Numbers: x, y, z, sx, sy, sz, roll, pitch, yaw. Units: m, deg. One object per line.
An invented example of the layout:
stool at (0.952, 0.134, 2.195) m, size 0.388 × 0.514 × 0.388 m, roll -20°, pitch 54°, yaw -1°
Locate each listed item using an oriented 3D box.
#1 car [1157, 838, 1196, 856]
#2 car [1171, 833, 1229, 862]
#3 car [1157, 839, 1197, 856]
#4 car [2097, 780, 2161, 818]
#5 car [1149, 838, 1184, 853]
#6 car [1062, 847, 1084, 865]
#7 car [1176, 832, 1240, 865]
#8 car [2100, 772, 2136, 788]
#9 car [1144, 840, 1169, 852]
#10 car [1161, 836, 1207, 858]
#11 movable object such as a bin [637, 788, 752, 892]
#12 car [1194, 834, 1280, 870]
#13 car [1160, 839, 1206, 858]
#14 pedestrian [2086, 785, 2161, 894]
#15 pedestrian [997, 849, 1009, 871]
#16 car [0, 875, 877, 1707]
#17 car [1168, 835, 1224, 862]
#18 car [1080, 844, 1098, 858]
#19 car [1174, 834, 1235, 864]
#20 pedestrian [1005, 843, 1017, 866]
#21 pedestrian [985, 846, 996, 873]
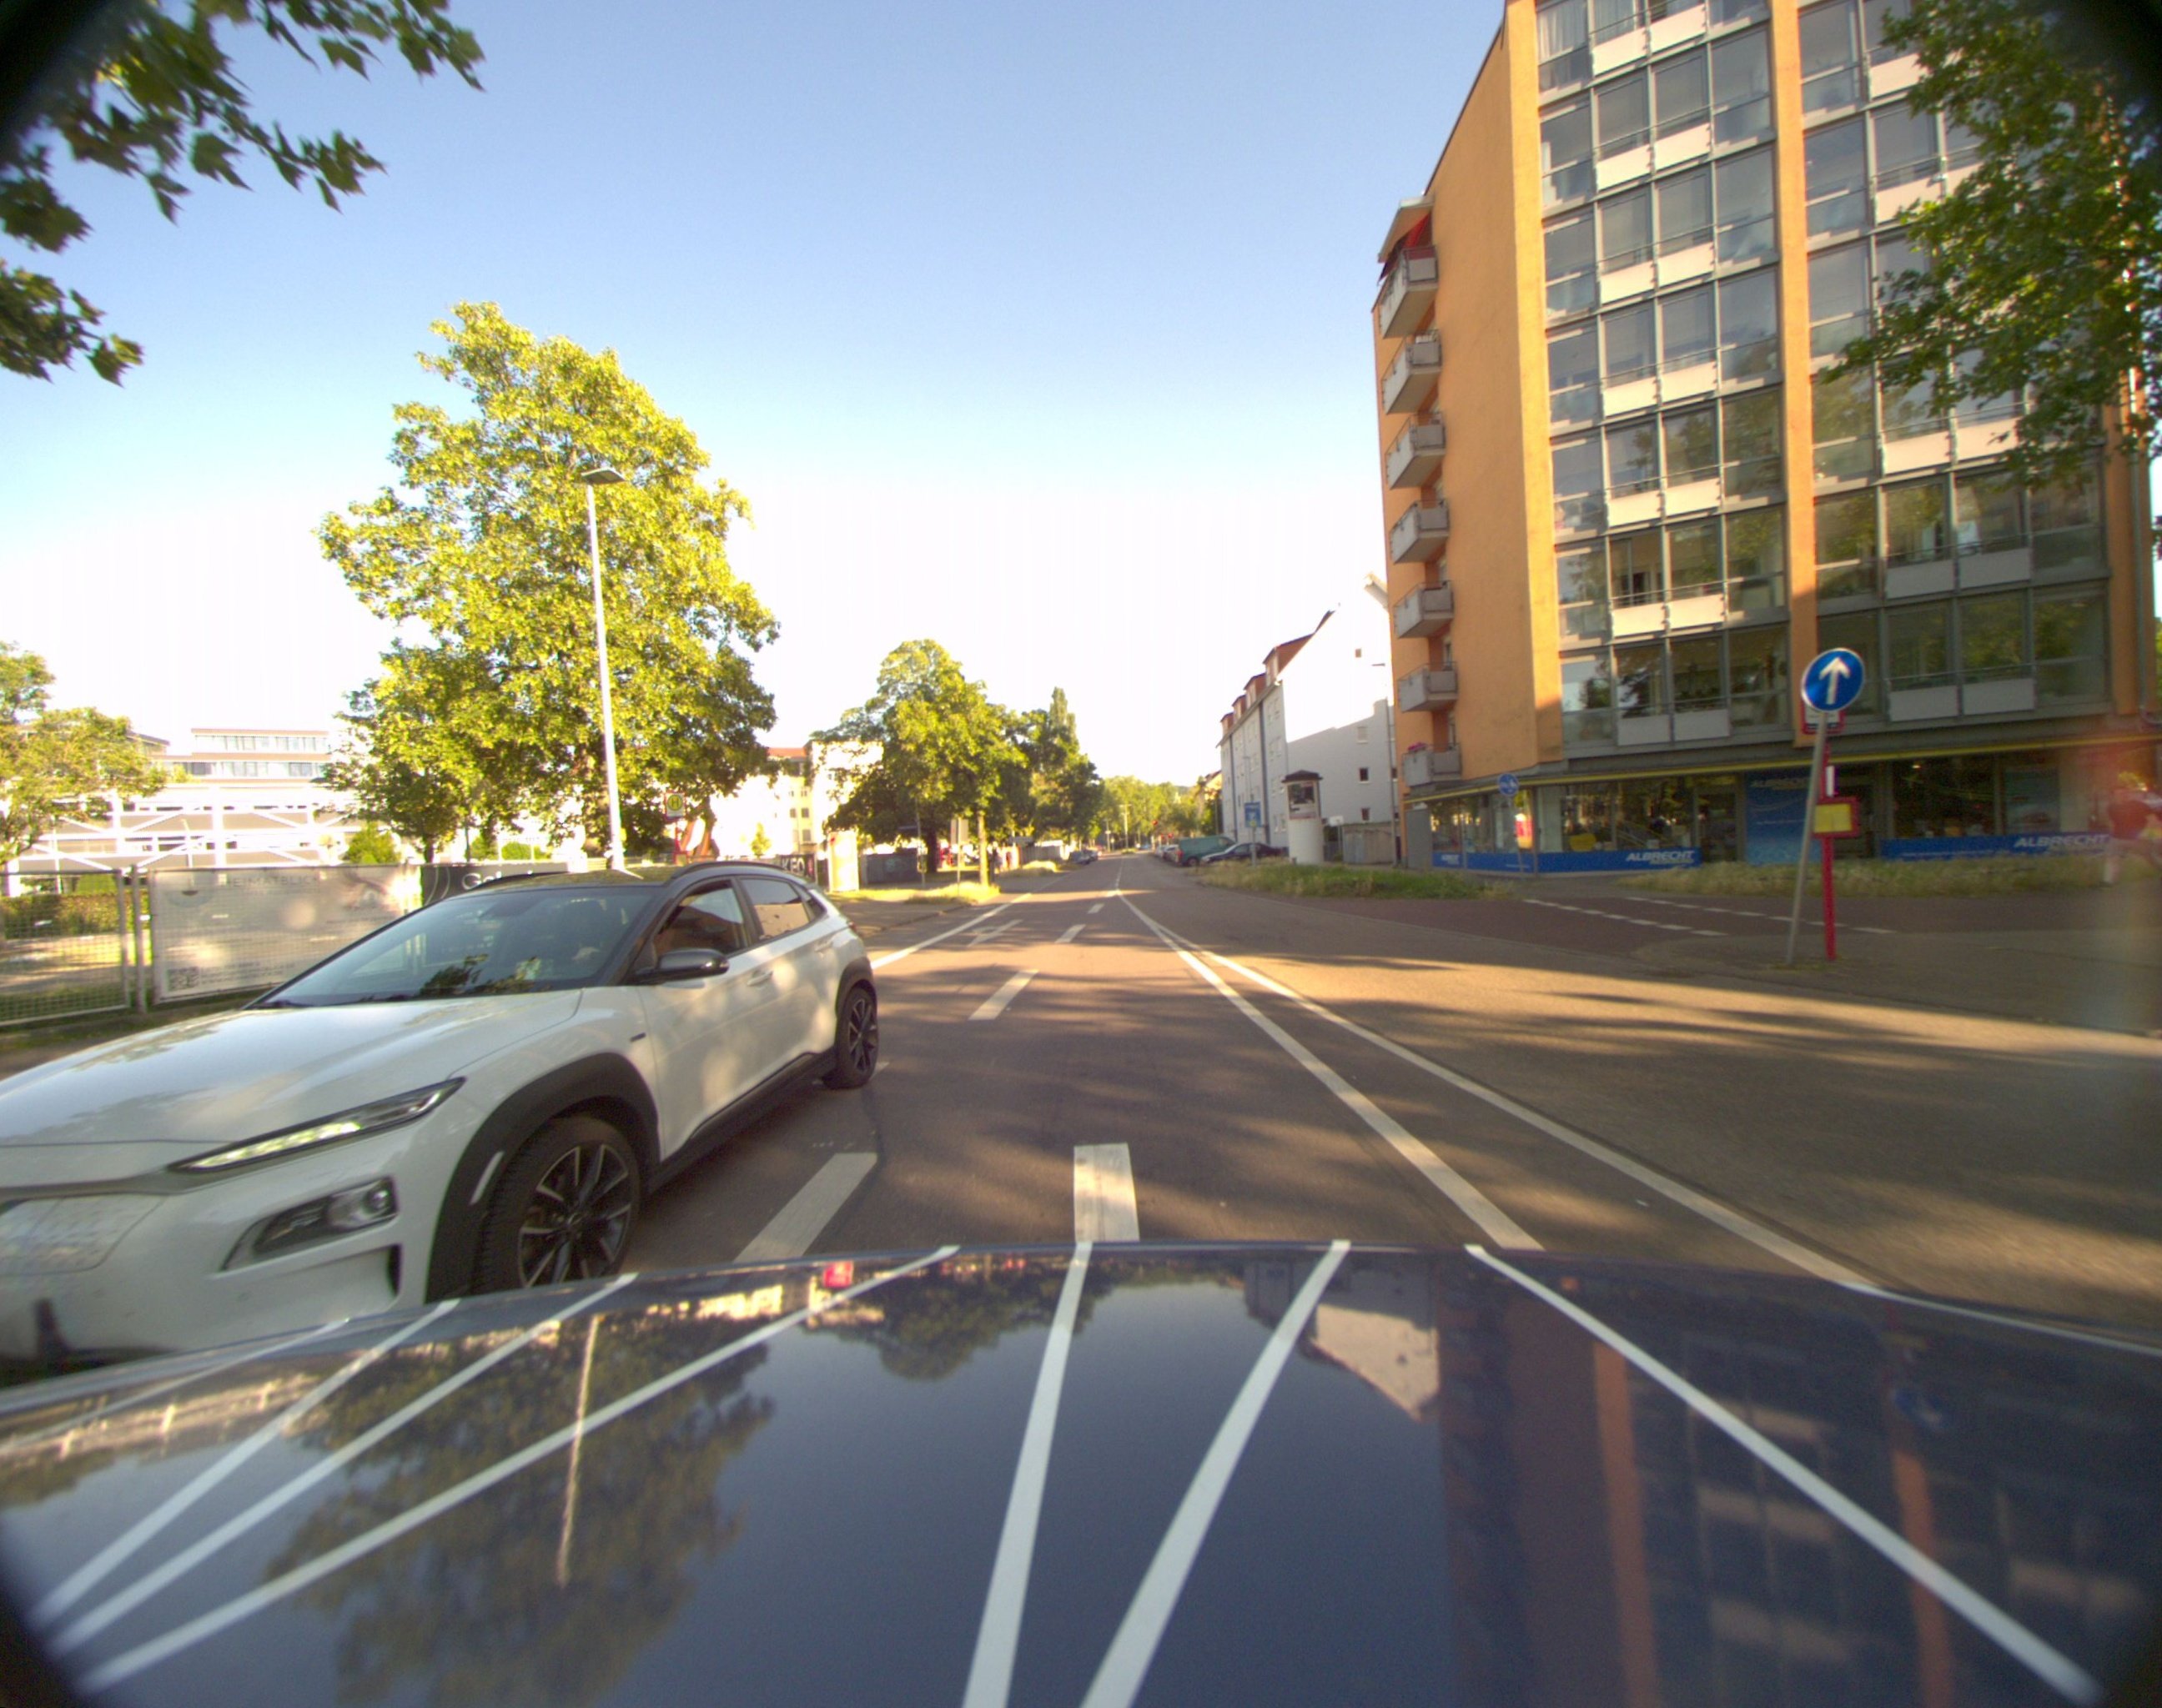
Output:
car at (10.614, -0.792, 84.649) m, size 4.071 × 1.742 × 1.899 m, roll -4°, pitch 2°, yaw 6°
car at (8.731, -0.476, 55.938) m, size 3.995 × 1.806 × 2.000 m, roll -4°, pitch 2°, yaw 6°
car at (10.662, -0.760, 84.514) m, size 4.257 × 1.564 × 1.866 m, roll -4°, pitch 2°, yaw 6°
car at (49.551, -2.576, 35.527) m, size 4.053 × 1.567 × 2.045 m, roll -5°, pitch 2°, yaw -43°
car at (10.618, -1.014, 94.769) m, size 4.257 × 1.564 × 1.866 m, roll -4°, pitch 2°, yaw 6°
car at (-0.761, 0.150, 74.243) m, size 1.998 × 1.521 × 3.999 m, roll -4°, pitch 2°, yaw 1°
car at (8.402, -0.386, 50.537) m, size 3.996 × 1.937 × 2.000 m, roll -4°, pitch 2°, yaw 5°
car at (121.843, -8.665, 89.306) m, size 4.376 × 1.696 × 1.934 m, roll -5°, pitch 2°, yaw -43°
car at (10.927, -1.174, 109.817) m, size 3.538 × 1.564 × 1.866 m, roll -4°, pitch 2°, yaw 6°
car at (9.569, -0.690, 71.076) m, size 4.117 × 1.762 × 1.756 m, roll -4°, pitch 2°, yaw 6°
movable object such as a bin at (-22.074, -0.769, 43.280) m, size 3.985 × 5.448 × 6.016 m, roll -5°, pitch 2°, yaw -42°
car at (8.471, -0.122, 41.476) m, size 4.424 × 1.652 × 2.001 m, roll -3°, pitch 2°, yaw 9°
car at (9.879, -0.574, 73.963) m, size 4.257 × 1.564 × 1.866 m, roll -4°, pitch 2°, yaw 6°
pedestrian at (17.274, -0.240, 12.525) m, size 0.540 × 1.740 × 0.810 m, roll -5°, pitch 2°, yaw -34°
pedestrian at (-5.155, 0.387, 50.179) m, size 0.609 × 1.426 × 0.639 m, roll -4°, pitch 2°, yaw 1°
car at (-2.546, 0.978, 3.479) m, size 1.894 × 1.588 × 3.967 m, roll -4°, pitch -1°, yaw 3°
car at (8.814, -0.431, 58.289) m, size 4.059 × 1.806 × 1.937 m, roll -4°, pitch 2°, yaw 6°
car at (0.967, -0.421, 92.607) m, size 1.998 × 1.521 × 3.999 m, roll -4°, pitch 2°, yaw 1°
car at (8.576, -0.397, 53.184) m, size 3.995 × 1.806 × 2.000 m, roll -4°, pitch 2°, yaw 6°
pedestrian at (-5.266, 0.060, 57.425) m, size 0.695 × 1.659 × 0.639 m, roll -4°, pitch 2°, yaw 4°
pedestrian at (-5.998, 0.336, 50.479) m, size 0.609 × 1.727 × 0.638 m, roll -4°, pitch 2°, yaw -5°
